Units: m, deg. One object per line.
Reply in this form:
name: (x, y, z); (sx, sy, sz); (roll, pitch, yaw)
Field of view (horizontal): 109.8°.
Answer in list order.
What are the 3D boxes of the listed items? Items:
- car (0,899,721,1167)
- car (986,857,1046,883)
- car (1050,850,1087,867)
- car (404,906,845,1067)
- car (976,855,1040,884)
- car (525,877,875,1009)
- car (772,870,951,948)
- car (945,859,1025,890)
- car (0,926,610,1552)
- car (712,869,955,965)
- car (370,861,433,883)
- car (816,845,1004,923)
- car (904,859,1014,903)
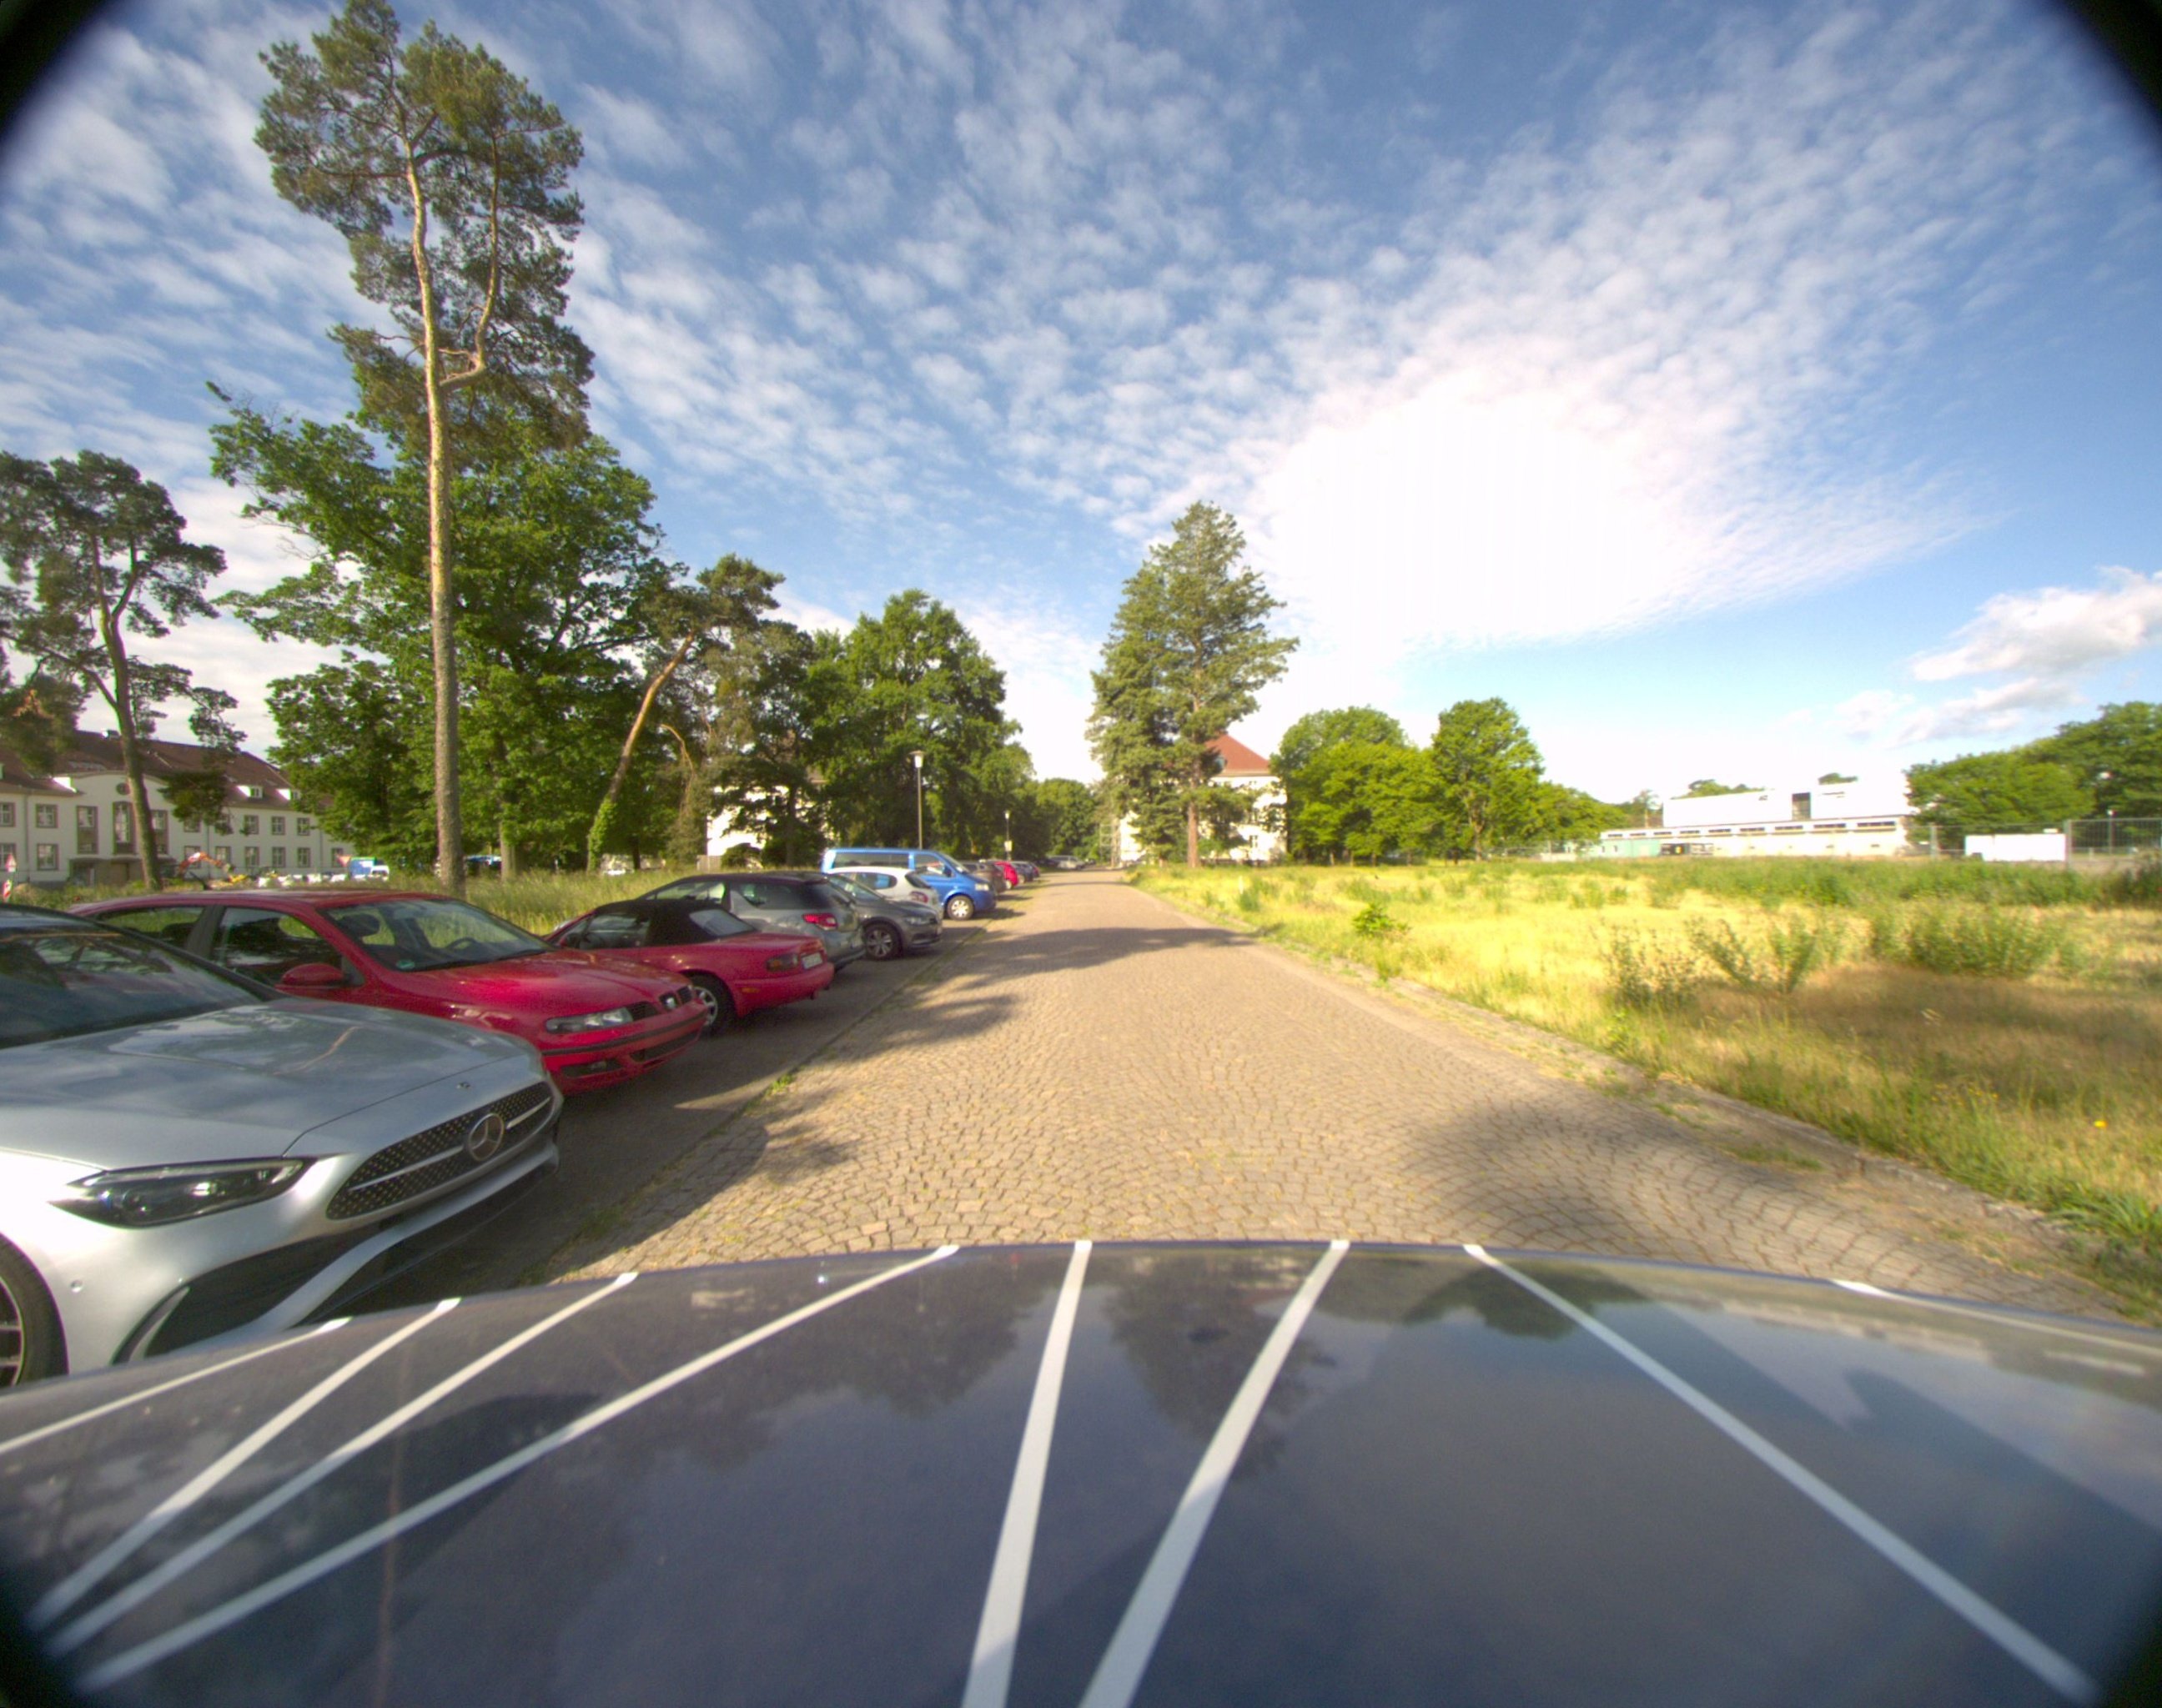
car: (-4.757, 1.052, 5.062); (3.918, 1.385, 1.661); (0, 0, -1)
car: (-4.725, 1.166, 55.546); (3.996, 1.605, 1.757); (-4, 1, 4)
car: (-1.700, 0.624, 104.157); (5.068, 2.251, 2.000); (-1, 0, 0)
car: (-4.198, 1.204, 7.345); (3.357, 1.248, 1.420); (-1, 0, -1)
car: (-4.836, 1.024, 50.692); (3.996, 1.731, 1.757); (-3, 0, 3)
car: (-4.832, 1.102, 10.010); (3.779, 1.482, 1.549); (-1, 0, -1)
car: (-4.493, 1.111, 15.823); (3.264, 1.482, 1.449); (-1, 0, 2)
car: (-5.072, 1.076, 40.504); (3.996, 1.509, 1.757); (-1, 0, 3)
car: (-4.523, 1.052, 2.787); (4.423, 1.394, 1.826); (1, 0, -1)
car: (-4.159, 1.036, 12.972); (3.621, 1.482, 1.509); (-1, 0, 10)
car: (-68.888, 1.792, 77.109); (1.998, 2.002, 4.773); (-1, 0, 1)
car: (-4.657, 0.802, 21.209); (4.726, 2.002, 2.000); (-1, 0, 1)
car: (-4.801, 1.038, 30.145); (3.996, 1.630, 1.757); (-1, 0, 3)
